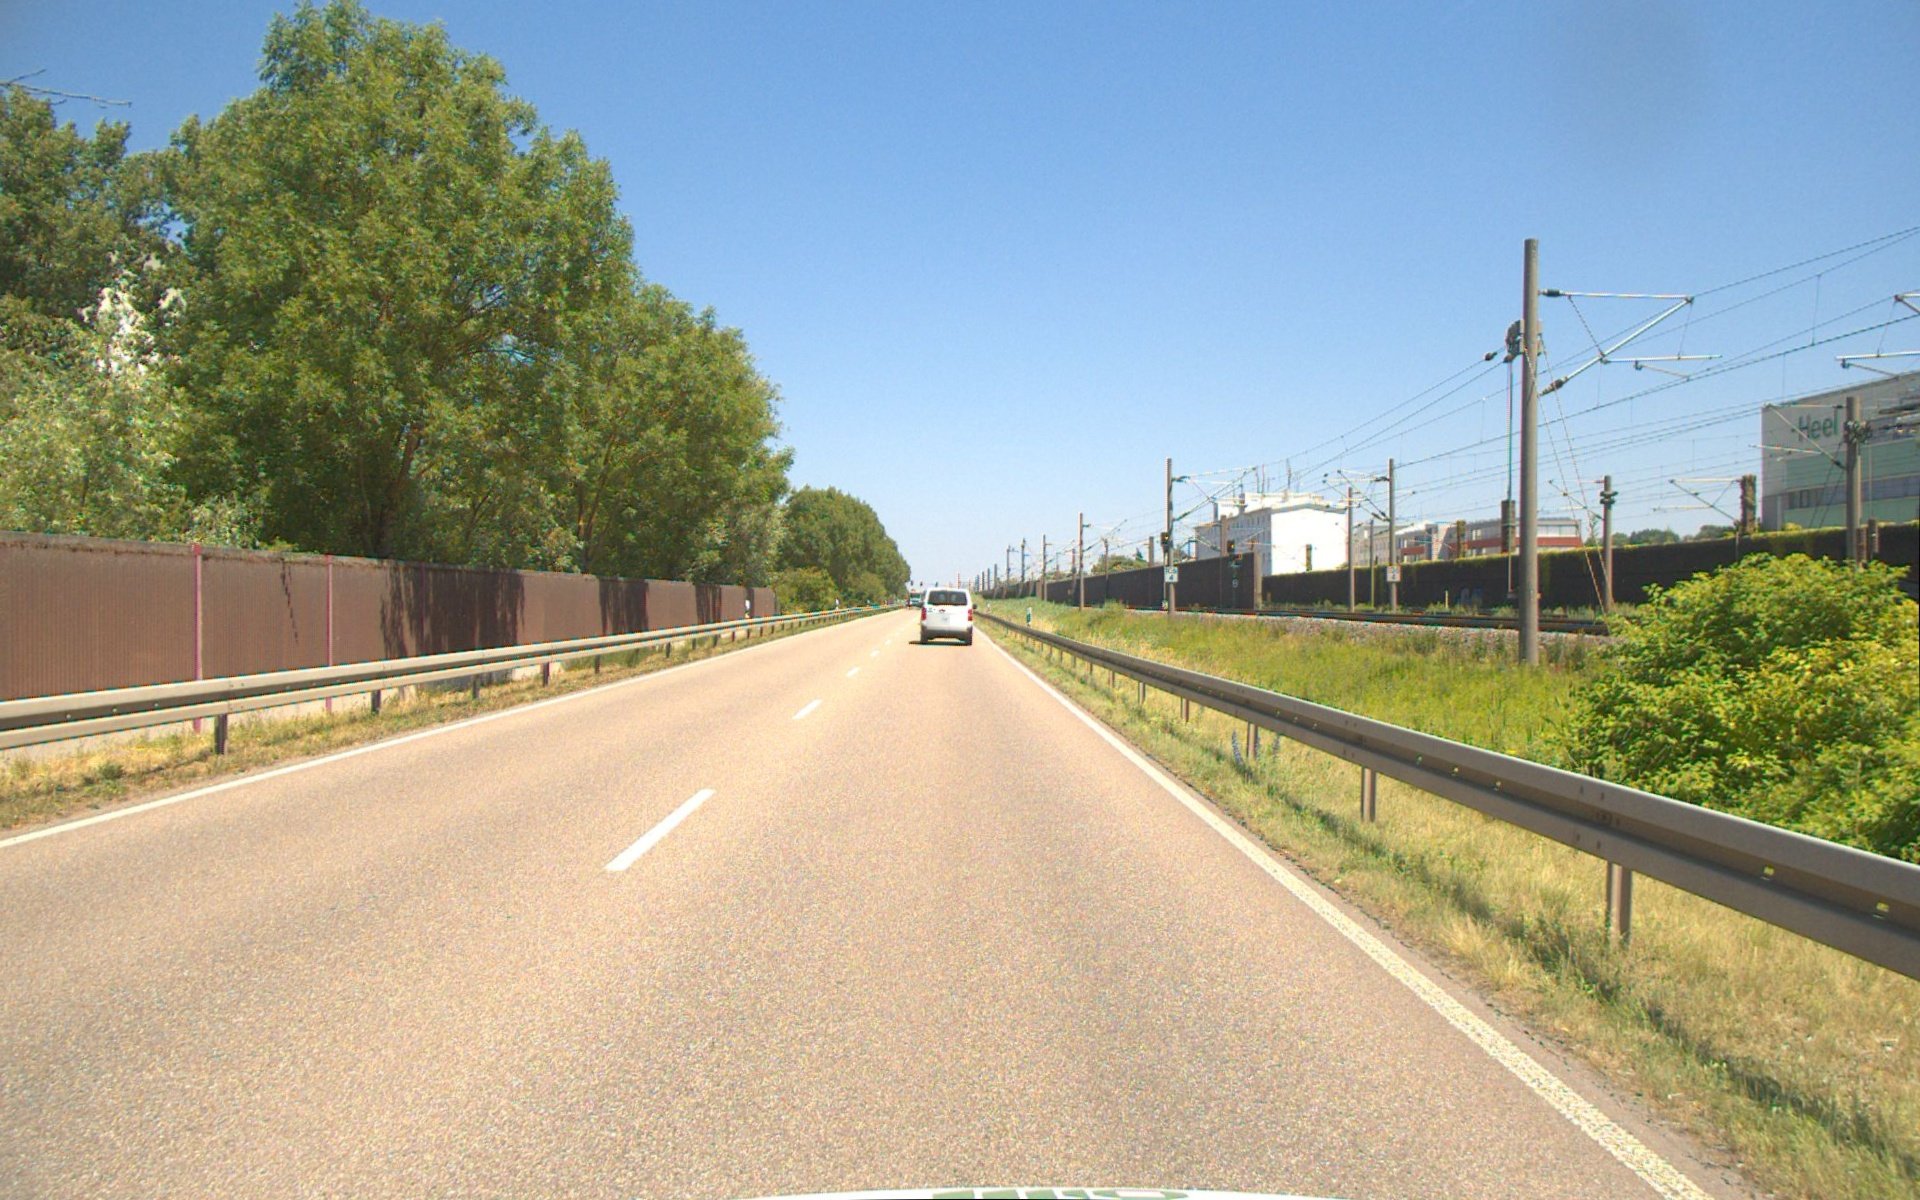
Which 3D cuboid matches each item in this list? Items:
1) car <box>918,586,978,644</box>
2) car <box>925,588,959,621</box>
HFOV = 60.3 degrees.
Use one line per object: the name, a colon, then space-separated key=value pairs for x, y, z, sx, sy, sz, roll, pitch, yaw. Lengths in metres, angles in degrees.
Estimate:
car: x=-0.435 y=0.515 z=58.406 sx=1.953 sy=1.882 sz=3.999 roll=2 pitch=0 yaw=-1
car: x=-1.120 y=0.242 z=100.309 sx=1.953 sy=1.882 sz=3.999 roll=2 pitch=0 yaw=-1
